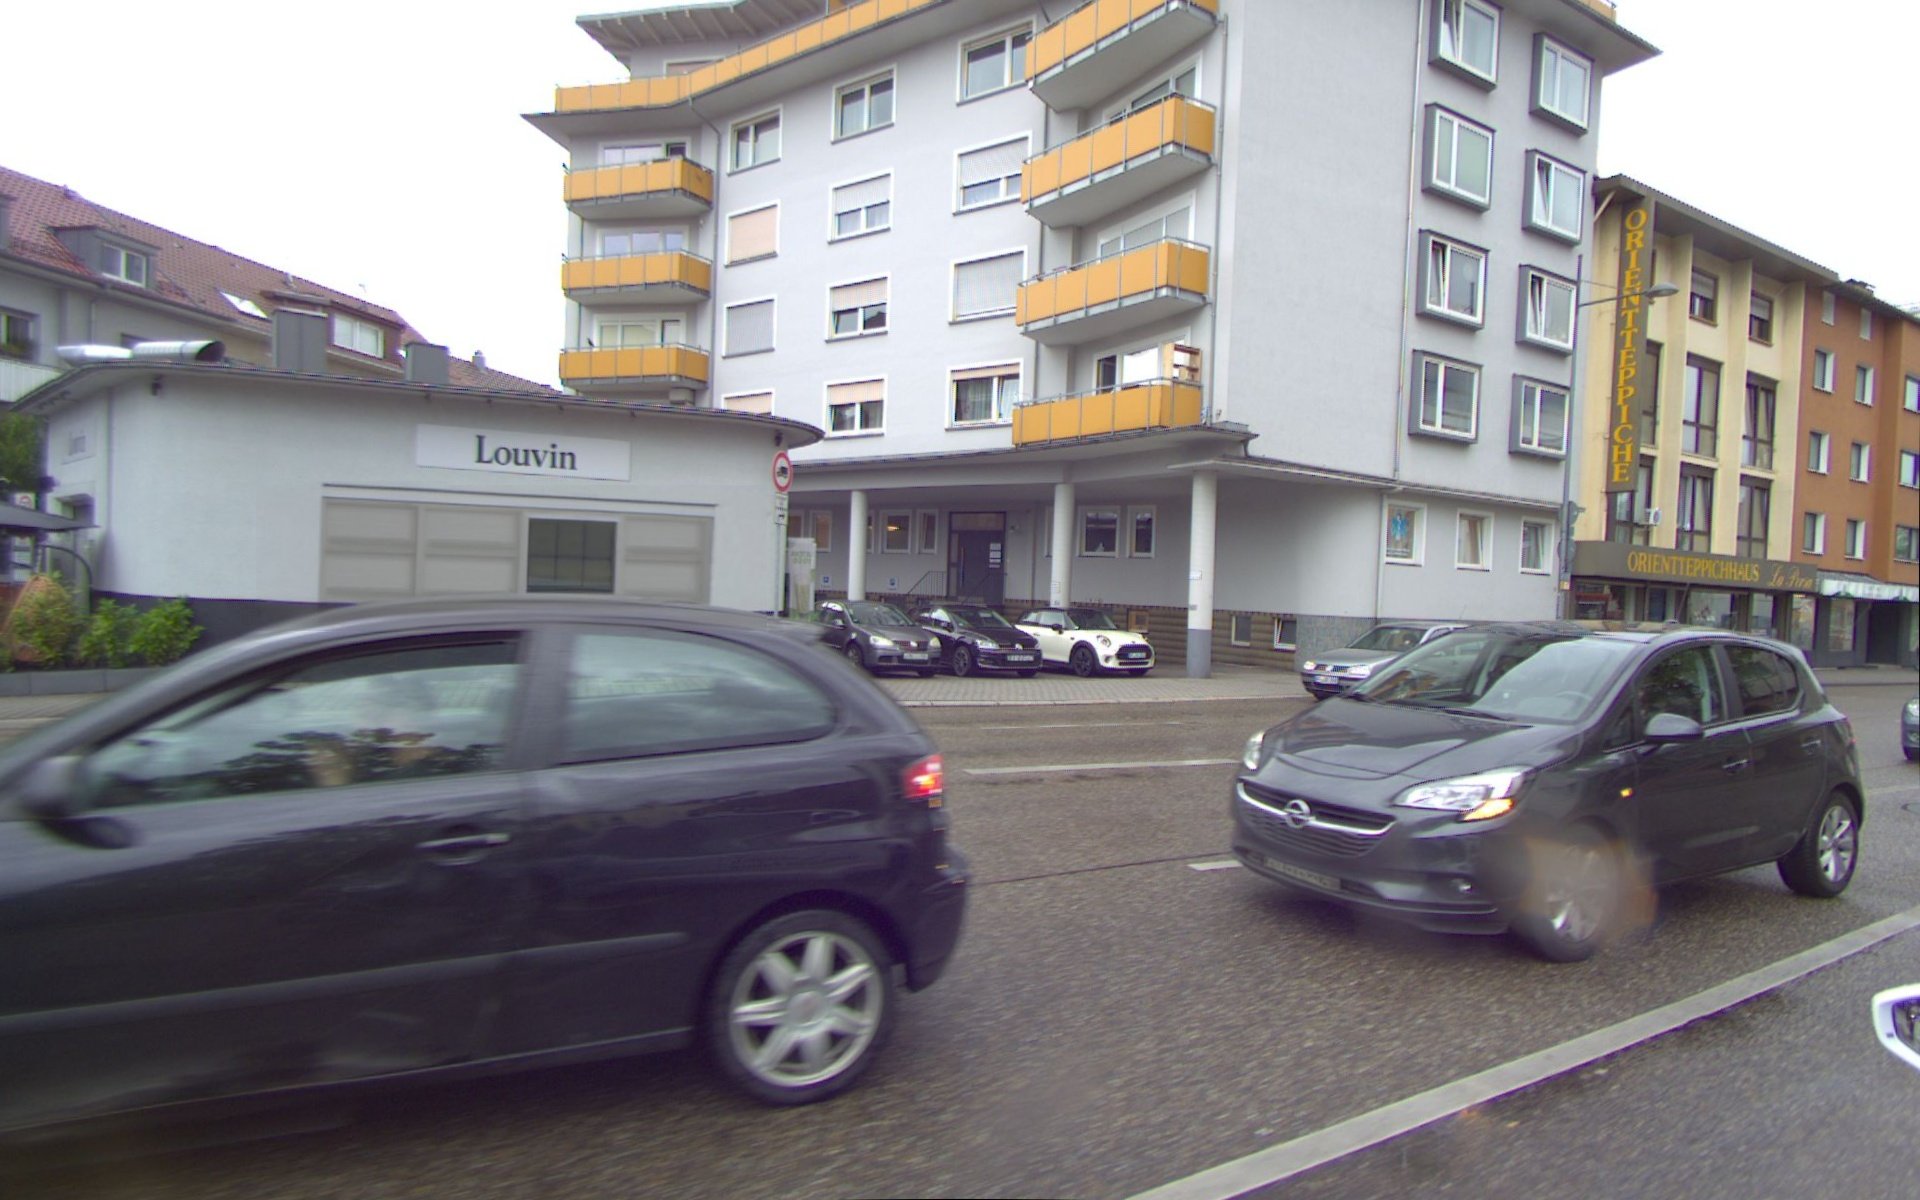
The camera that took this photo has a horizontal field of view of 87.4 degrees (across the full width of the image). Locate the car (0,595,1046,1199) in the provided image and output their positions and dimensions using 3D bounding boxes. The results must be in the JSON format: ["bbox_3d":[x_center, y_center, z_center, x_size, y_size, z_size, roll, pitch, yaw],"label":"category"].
[{"bbox_3d":[-1.716,0.702,3.127,3.675,1.416,1.551,0,0,-24],"label":"car"}]

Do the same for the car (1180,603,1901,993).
[{"bbox_3d":[3.291,0.810,5.557,3.940,1.473,1.637,1,1,-29],"label":"car"}]

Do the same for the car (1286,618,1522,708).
[{"bbox_3d":[7.887,1.112,17.785,4.061,1.384,1.721,3,0,-30],"label":"car"}]

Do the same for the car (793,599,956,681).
[{"bbox_3d":[-1.788,0.787,19.867,1.776,1.439,3.795,3,-3,-29],"label":"car"}]

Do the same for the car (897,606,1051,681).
[{"bbox_3d":[0.201,0.896,21.217,1.618,1.439,3.740,1,-2,-29],"label":"car"}]

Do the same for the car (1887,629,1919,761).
[{"bbox_3d":[12.782,1.128,11.911,4.369,1.459,1.721,2,0,-35],"label":"car"}]

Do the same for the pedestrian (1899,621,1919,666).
[{"bbox_3d":[37.535,1.694,39.412,0.898,1.698,0.626,2,5,-31],"label":"pedestrian"}]

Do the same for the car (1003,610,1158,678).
[{"bbox_3d":[2.555,0.949,22.021,1.479,1.356,3.603,1,-2,-32],"label":"car"}]
